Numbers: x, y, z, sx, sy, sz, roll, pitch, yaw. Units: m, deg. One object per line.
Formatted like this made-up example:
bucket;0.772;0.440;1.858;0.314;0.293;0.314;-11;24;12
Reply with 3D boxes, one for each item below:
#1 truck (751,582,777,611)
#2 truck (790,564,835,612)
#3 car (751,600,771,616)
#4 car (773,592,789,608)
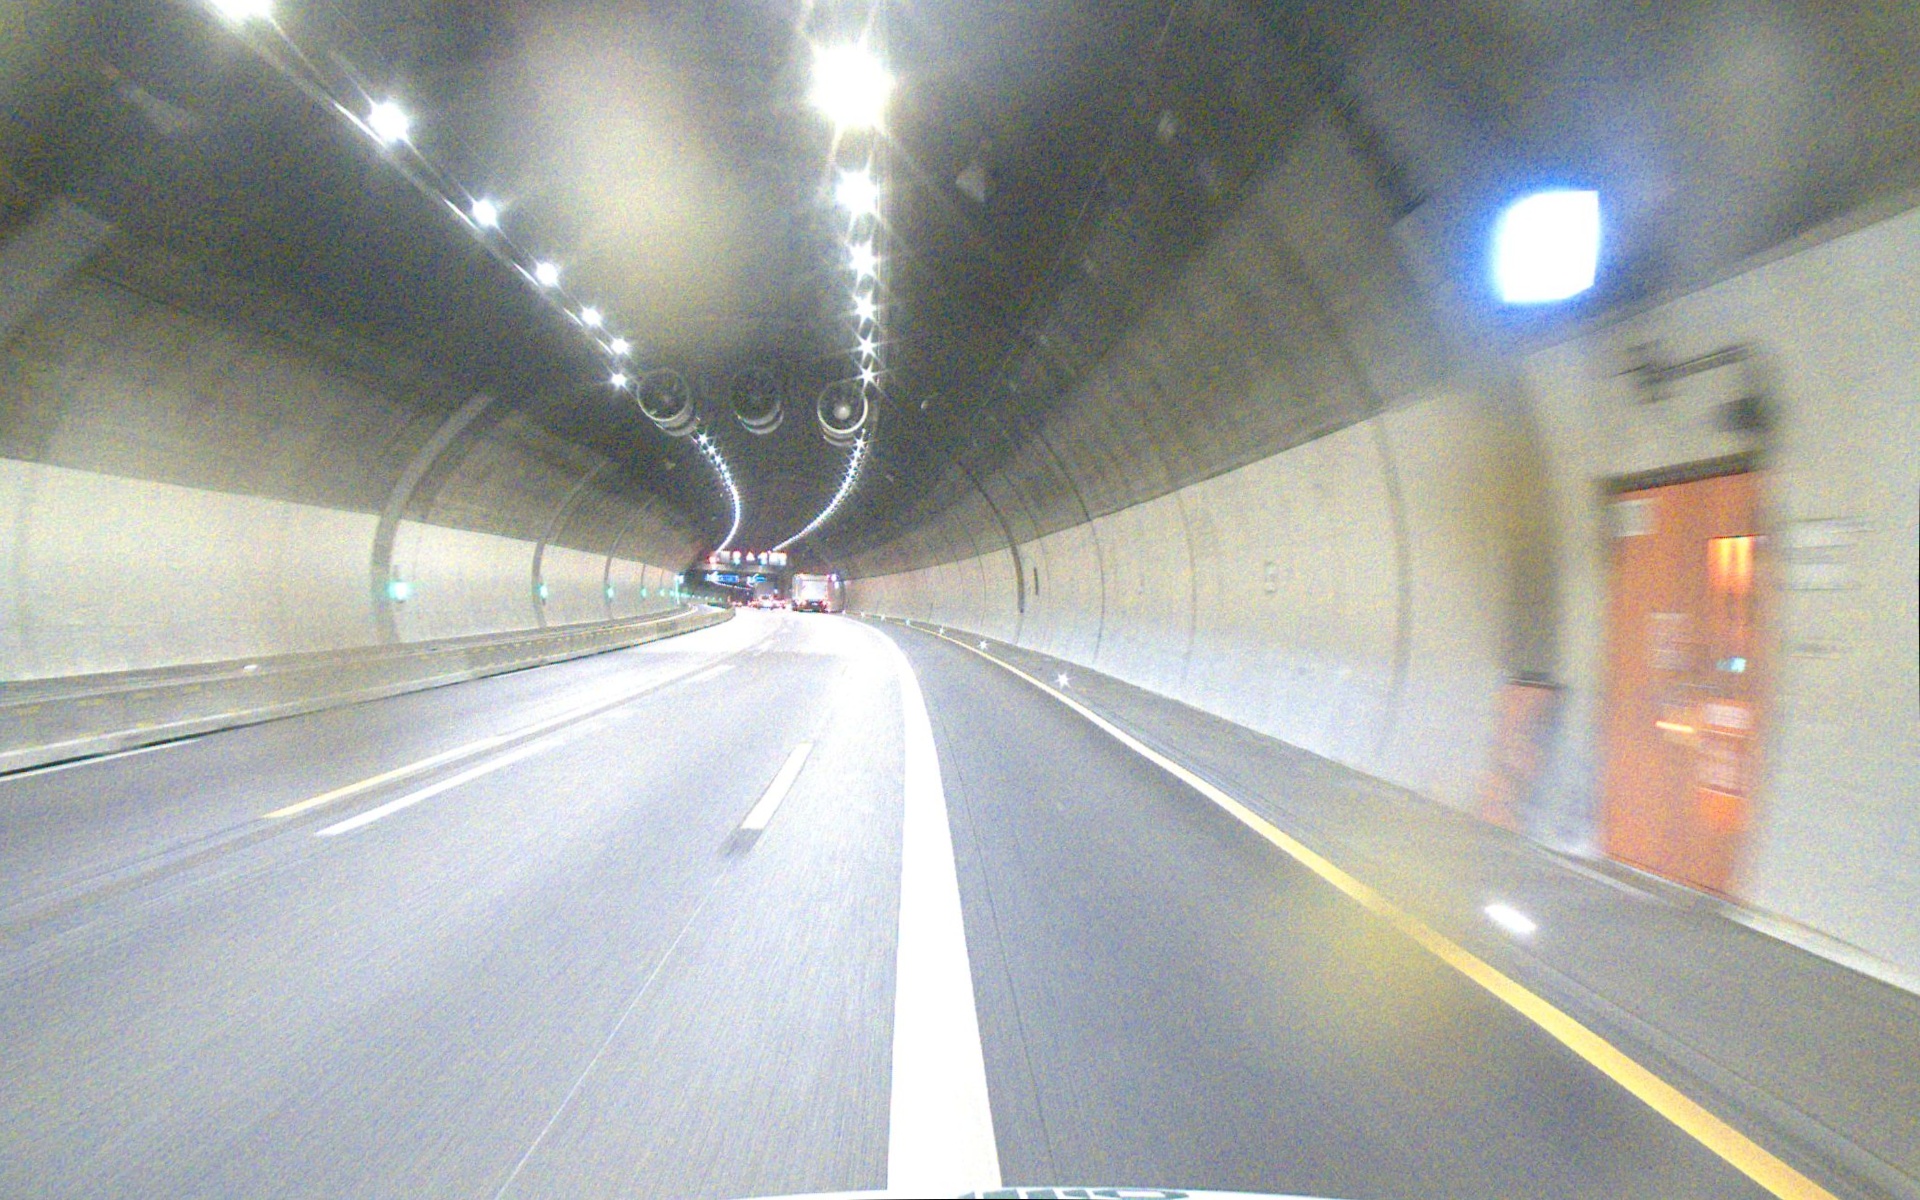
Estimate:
truck;-30.391;-0.604;256.226;3.410;4.392;10.926;0;0;-10
truck;-14.203;-1.120;158.296;3.411;4.391;10.926;0;0;-10
car;-21.738;0.855;180.671;1.957;1.609;3.990;1;0;-10
car;-23.507;-0.052;216.612;1.956;2.049;3.993;0;0;-8
